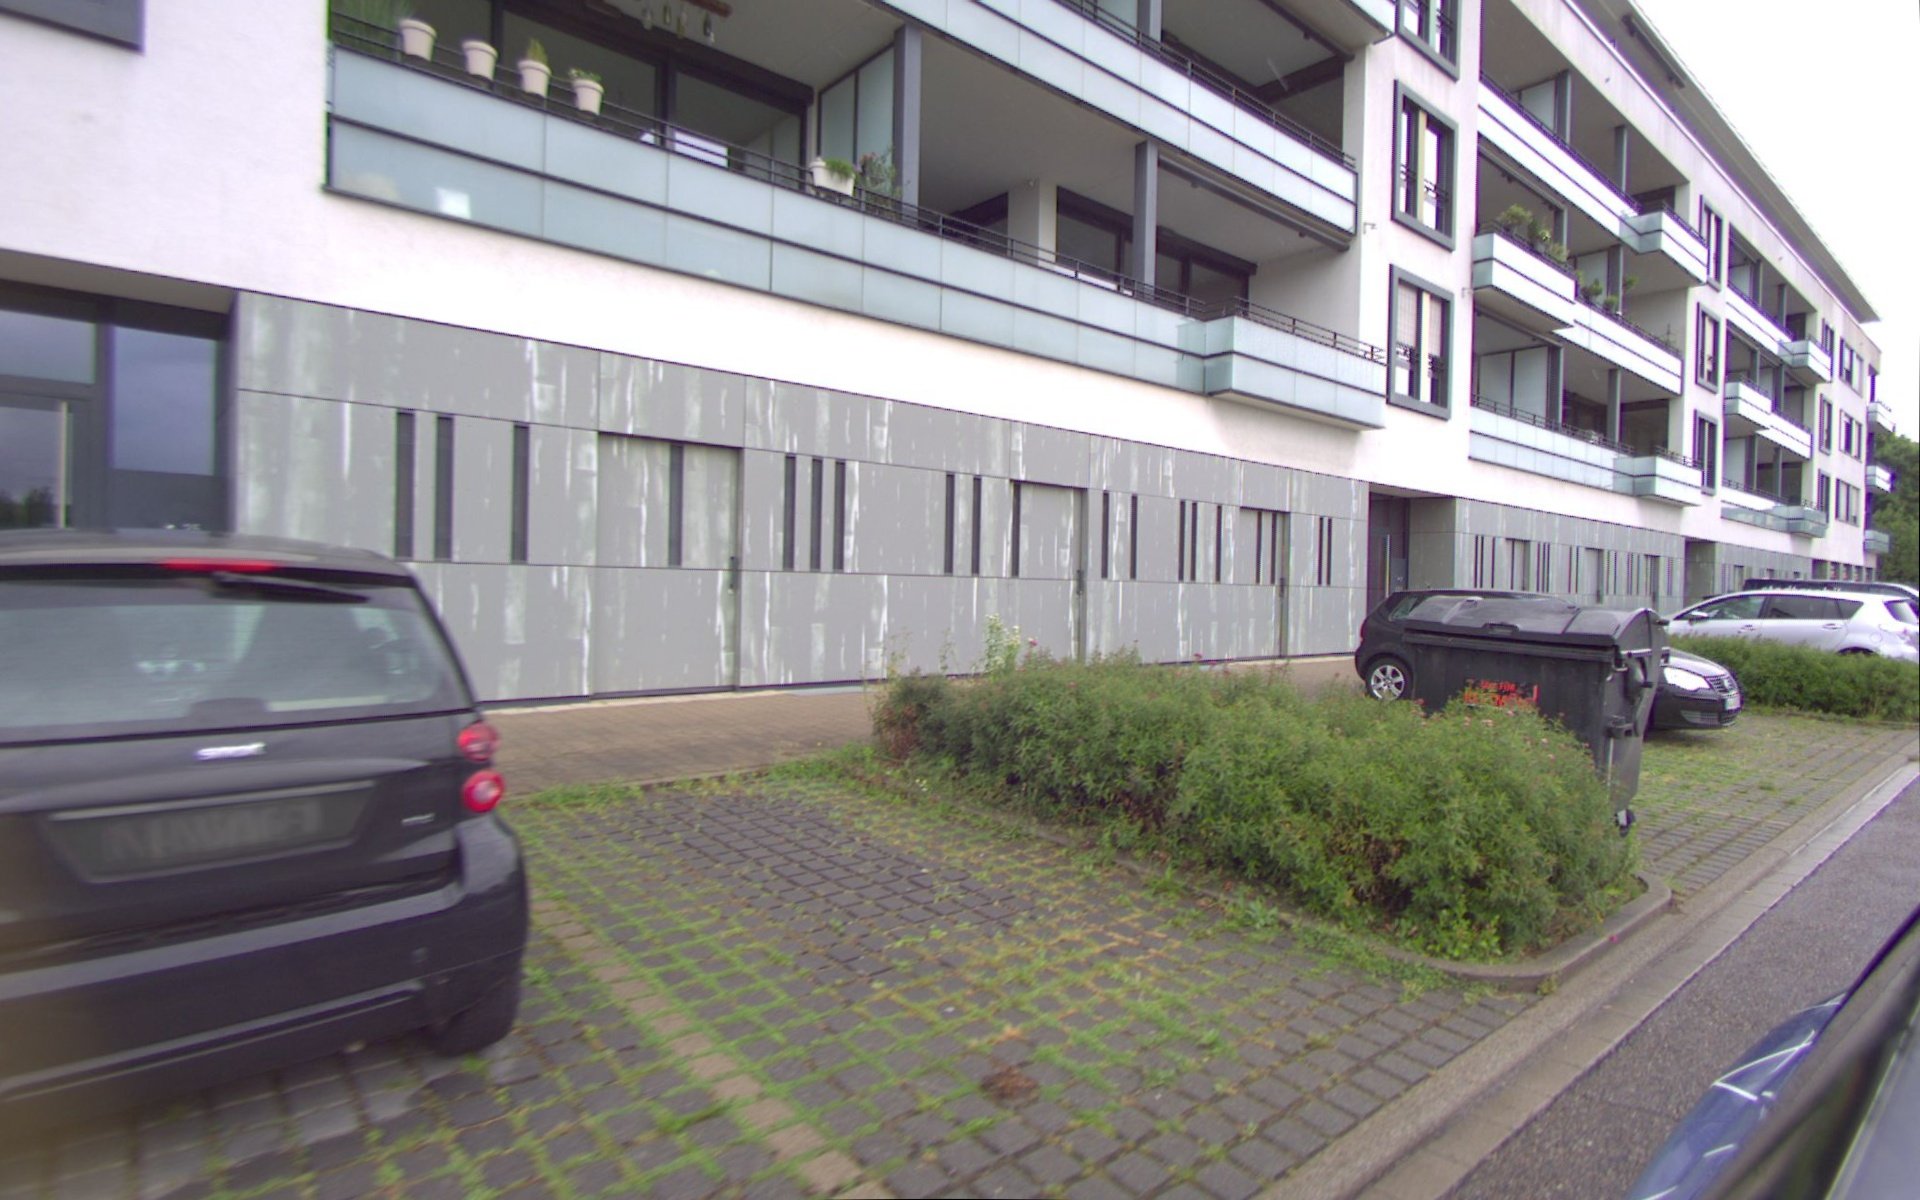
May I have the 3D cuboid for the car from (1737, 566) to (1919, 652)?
[{"bbox_3d":[23.404,0.214,26.023,1.947,1.952,5.062,1,3,-40],"label":"car"}]

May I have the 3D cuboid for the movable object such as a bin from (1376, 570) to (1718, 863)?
[{"bbox_3d":[3.677,0.618,6.407,1.135,1.511,1.499,1,4,-40],"label":"movable object such as a bin"}]

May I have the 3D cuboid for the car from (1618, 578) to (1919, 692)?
[{"bbox_3d":[14.142,0.499,17.604,1.657,1.664,4.216,0,2,-41],"label":"car"}]

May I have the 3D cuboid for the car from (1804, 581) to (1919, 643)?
[{"bbox_3d":[27.519,0.373,29.207,2.043,1.621,4.435,1,3,-35],"label":"car"}]

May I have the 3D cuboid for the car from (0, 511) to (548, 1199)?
[{"bbox_3d":[-2.591,0.494,3.483,2.625,1.525,1.188,5,3,44],"label":"car"}]

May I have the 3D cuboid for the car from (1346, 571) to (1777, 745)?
[{"bbox_3d":[6.705,0.516,11.632,1.731,1.509,3.856,1,3,-39],"label":"car"}]

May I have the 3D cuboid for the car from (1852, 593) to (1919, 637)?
[{"bbox_3d":[34.348,0.558,35.711,1.681,1.496,4.098,1,1,-40],"label":"car"}]
